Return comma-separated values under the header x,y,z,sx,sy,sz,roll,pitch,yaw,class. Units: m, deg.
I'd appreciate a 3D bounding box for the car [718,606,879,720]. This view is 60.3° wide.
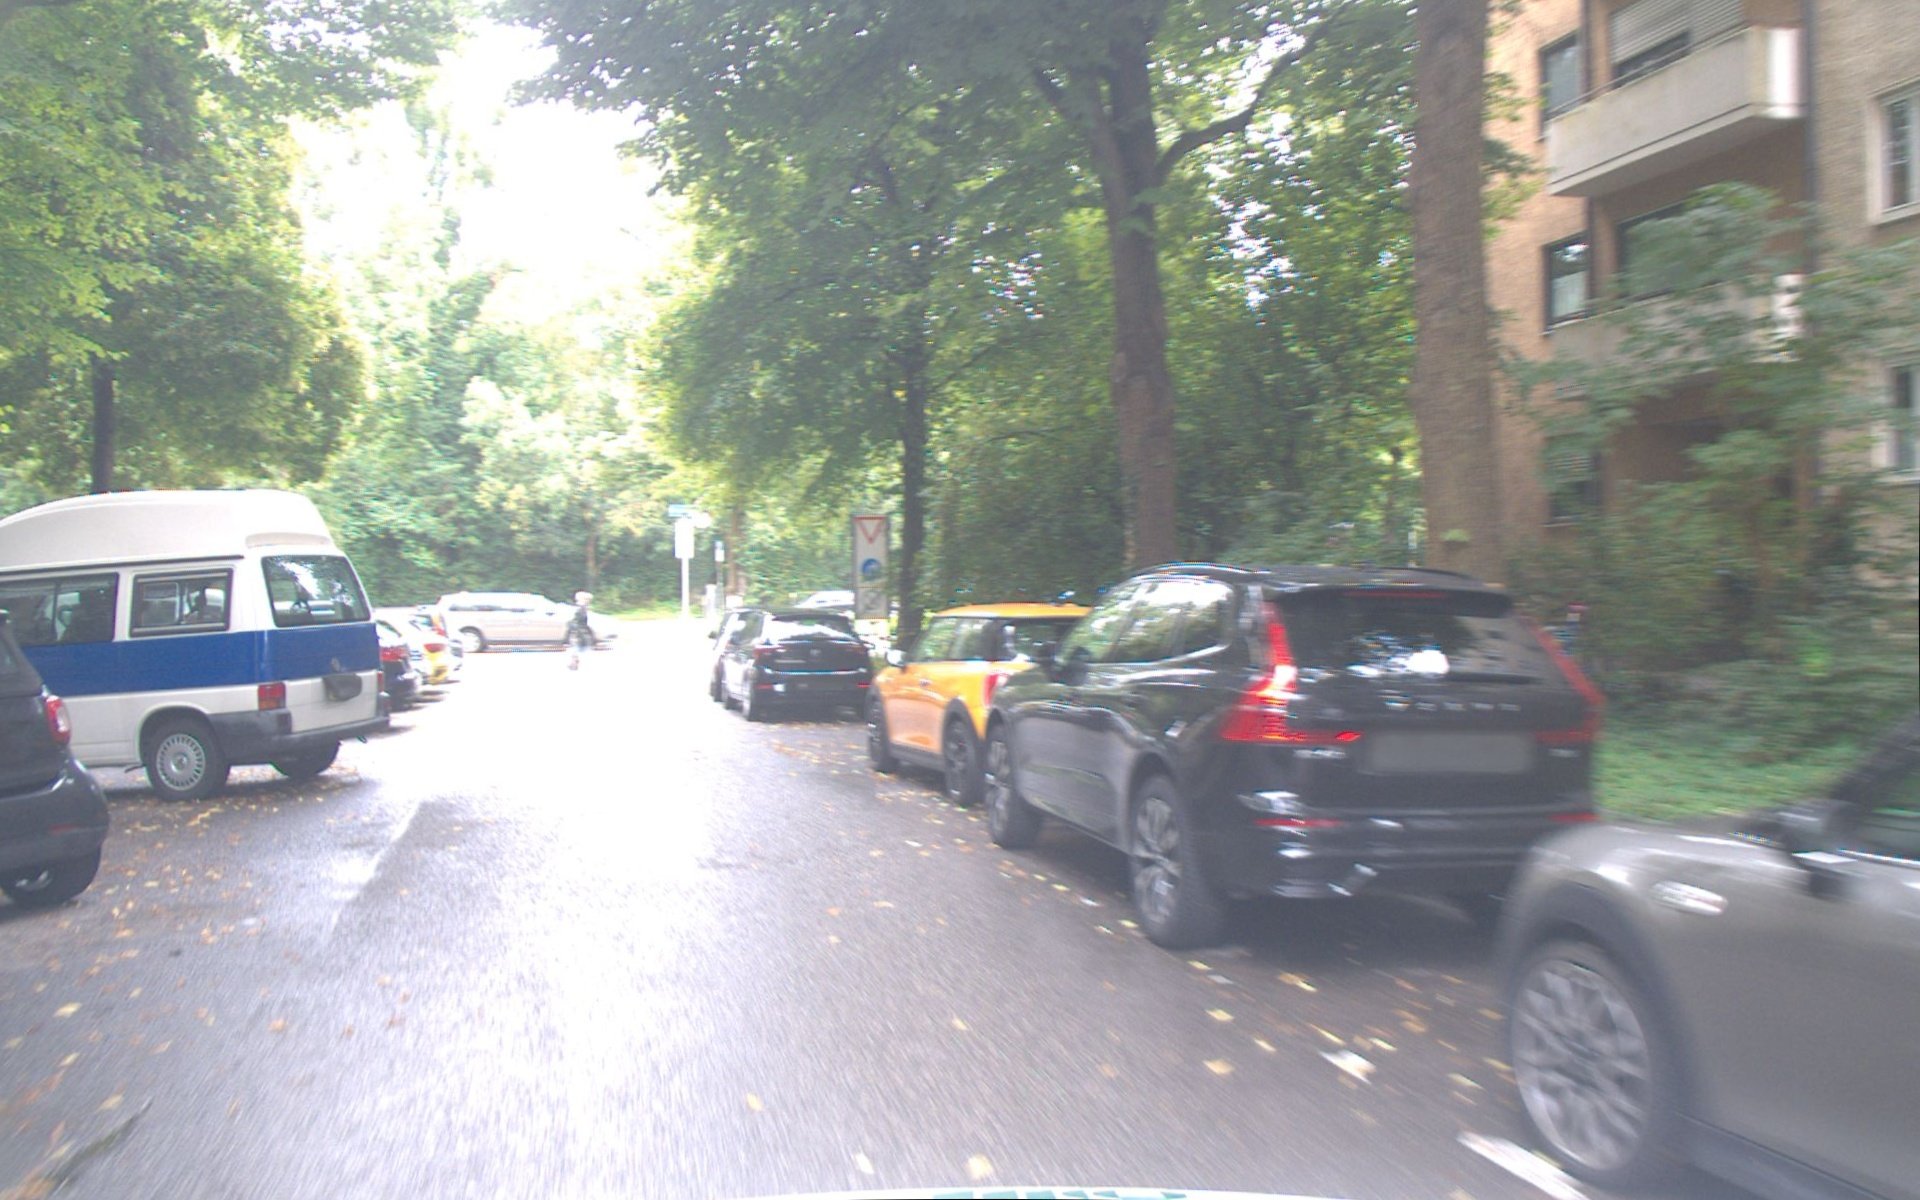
x,y,z,sx,sy,sz,roll,pitch,yaw,class
-2.319,0.798,22.889,1.653,1.382,3.994,0,0,-14,car

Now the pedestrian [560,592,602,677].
x,y,z,sx,sy,sz,roll,pitch,yaw,class
-7.596,0.672,33.183,0.765,1.645,0.759,-1,2,-11,pedestrian

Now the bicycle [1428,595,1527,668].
x,y,z,sx,sy,sz,roll,pitch,yaw,class
7.949,0.464,25.492,0.545,1.062,1.829,-2,0,-15,bicycle

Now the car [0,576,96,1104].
x,y,z,sx,sy,sz,roll,pitch,yaw,class
-4.880,0.799,5.182,3.907,1.563,1.815,-3,0,25,car

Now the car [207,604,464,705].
x,y,z,sx,sy,sz,roll,pitch,yaw,class
-10.695,0.906,28.600,3.920,1.489,1.729,-2,1,-15,car

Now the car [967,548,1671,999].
x,y,z,sx,sy,sz,roll,pitch,yaw,class
1.438,0.624,8.556,1.800,1.657,4.510,-1,0,-13,car

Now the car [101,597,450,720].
x,y,z,sx,sy,sz,roll,pitch,yaw,class
-9.869,0.813,24.164,4.366,1.624,1.831,-1,0,-9,car

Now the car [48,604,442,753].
x,y,z,sx,sy,sz,roll,pitch,yaw,class
-8.169,0.851,19.257,3.920,1.458,1.729,-2,1,-15,car

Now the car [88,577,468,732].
x,y,z,sx,sy,sz,roll,pitch,yaw,class
-8.761,0.660,21.611,4.236,1.761,1.843,-2,1,-11,car

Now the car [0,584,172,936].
x,y,z,sx,sy,sz,roll,pitch,yaw,class
-6.115,0.801,8.130,3.773,1.588,1.817,-3,0,17,car

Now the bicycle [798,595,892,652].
x,y,z,sx,sy,sz,roll,pitch,yaw,class
-2.143,0.431,30.774,1.718,0.999,0.273,-2,0,-5,bicycle

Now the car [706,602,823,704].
x,y,z,sx,sy,sz,roll,pitch,yaw,class
-3.257,0.801,27.026,1.618,1.500,3.633,-1,0,-11,car

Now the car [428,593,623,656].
x,y,z,sx,sy,sz,roll,pitch,yaw,class
-11.253,0.615,43.165,4.712,1.522,1.838,-1,0,-9,car

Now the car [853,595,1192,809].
x,y,z,sx,sy,sz,roll,pitch,yaw,class
0.348,0.697,13.443,1.593,1.437,3.762,-1,0,-17,car

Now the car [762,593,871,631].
x,y,z,sx,sy,sz,roll,pitch,yaw,class
-6.422,0.522,73.978,4.518,1.497,1.919,-2,0,-22,car

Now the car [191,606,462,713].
x,y,z,sx,sy,sz,roll,pitch,yaw,class
-9.975,0.902,26.342,3.815,1.466,1.733,-2,1,-15,car

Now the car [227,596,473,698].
x,y,z,sx,sy,sz,roll,pitch,yaw,class
-11.329,0.834,30.980,4.093,1.629,1.729,-2,2,-15,car

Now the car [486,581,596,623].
x,y,z,sx,sy,sz,roll,pitch,yaw,class
-17.637,0.062,69.597,4.363,1.606,1.923,-2,0,-17,car

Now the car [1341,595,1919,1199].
x,y,z,sx,sy,sz,roll,pitch,yaw,class
2.755,0.733,3.720,1.867,1.437,4.413,-2,0,-14,car

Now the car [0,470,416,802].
x,y,z,sx,sy,sz,roll,pitch,yaw,class
-7.073,0.319,13.590,4.471,2.419,1.907,-2,0,8,car
